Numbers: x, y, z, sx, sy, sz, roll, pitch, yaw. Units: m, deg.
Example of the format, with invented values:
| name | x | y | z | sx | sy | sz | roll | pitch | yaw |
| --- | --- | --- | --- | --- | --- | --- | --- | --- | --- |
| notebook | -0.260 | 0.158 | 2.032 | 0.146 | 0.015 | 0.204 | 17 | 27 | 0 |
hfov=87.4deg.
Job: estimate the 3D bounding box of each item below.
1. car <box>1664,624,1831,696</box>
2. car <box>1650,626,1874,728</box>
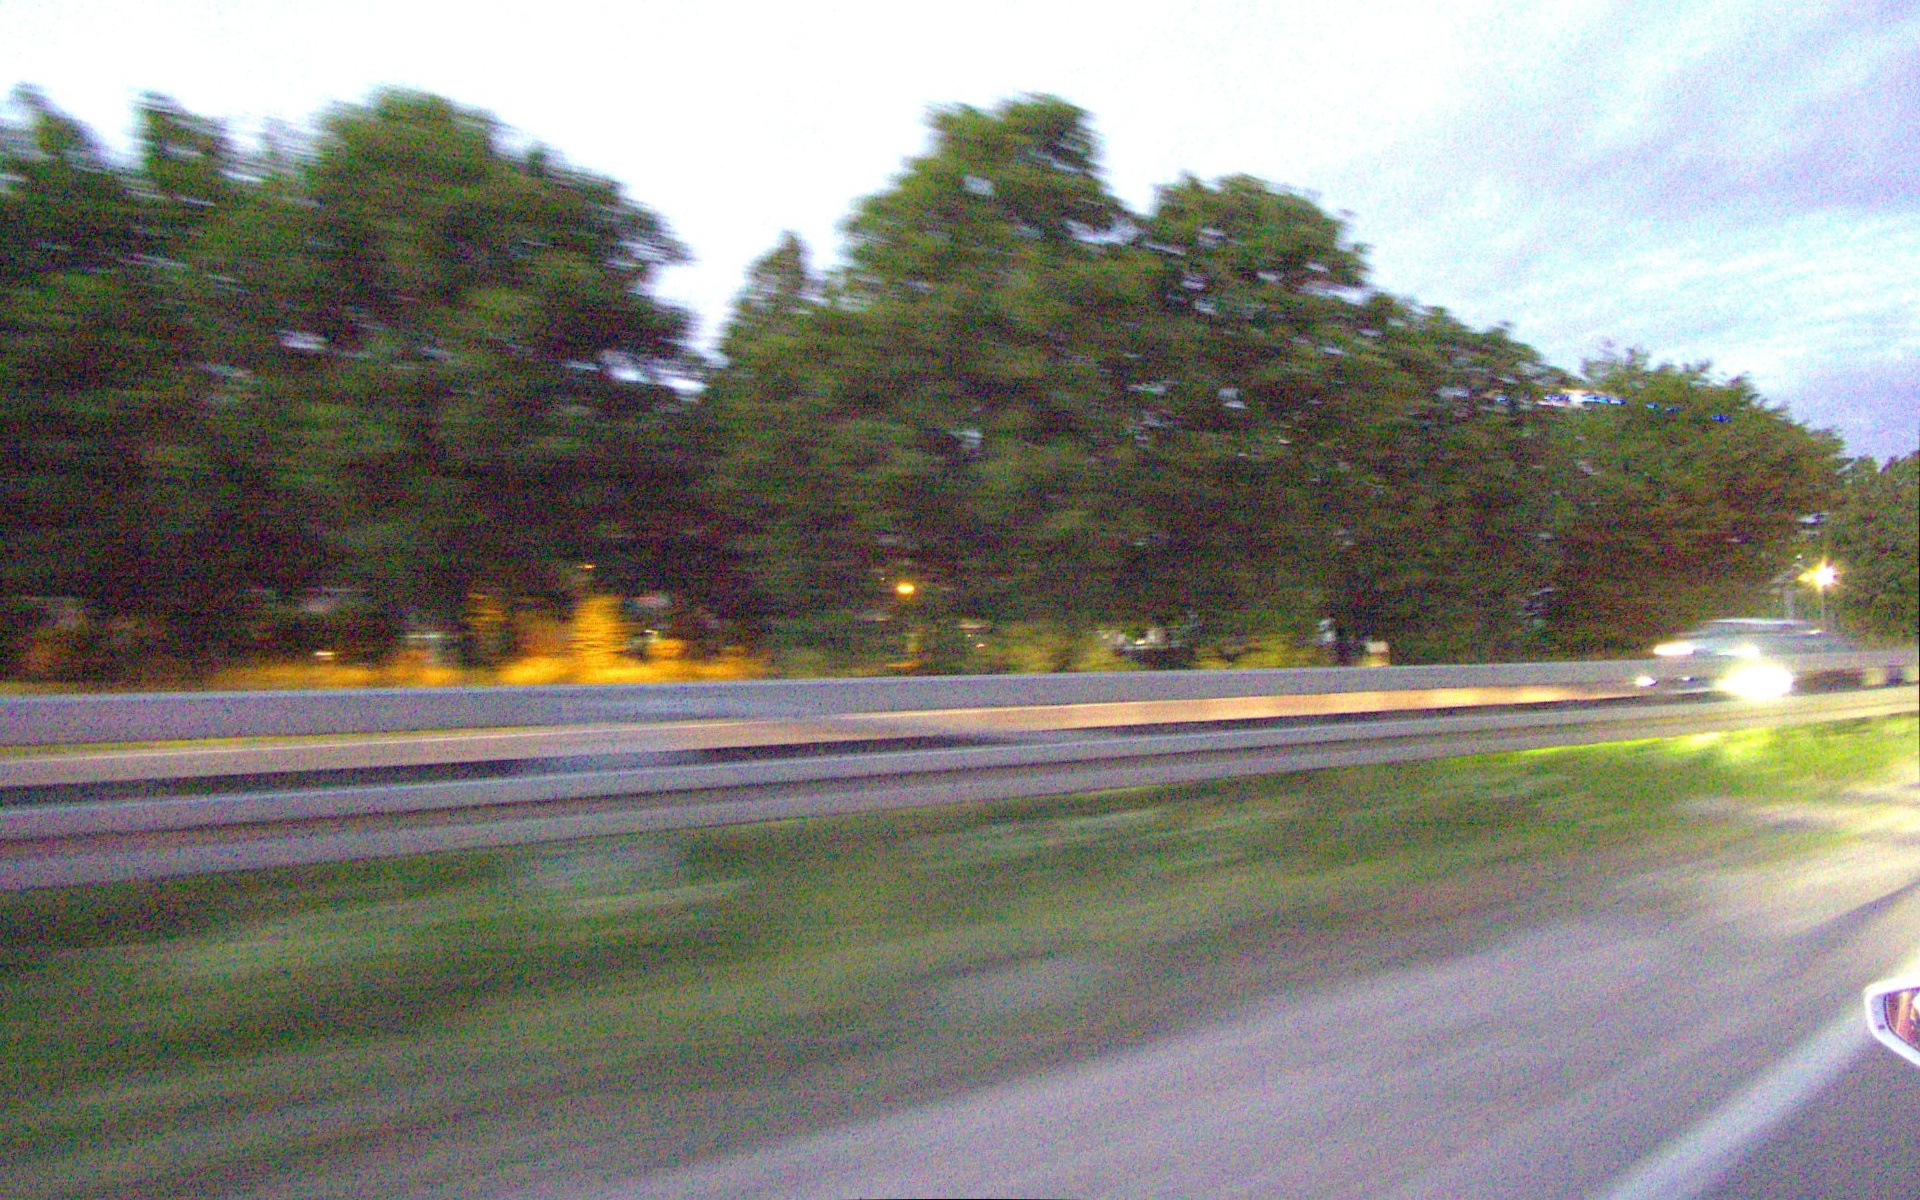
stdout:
| name | x | y | z | sx | sy | sz | roll | pitch | yaw |
| --- | --- | --- | --- | --- | --- | --- | --- | --- | --- |
| car | 19.384 | 1.420 | 24.693 | 4.253 | 1.644 | 1.694 | 1 | -1 | -29 |
| car | 13.792 | 1.229 | 17.235 | 3.952 | 1.554 | 1.685 | 1 | -1 | -30 |
